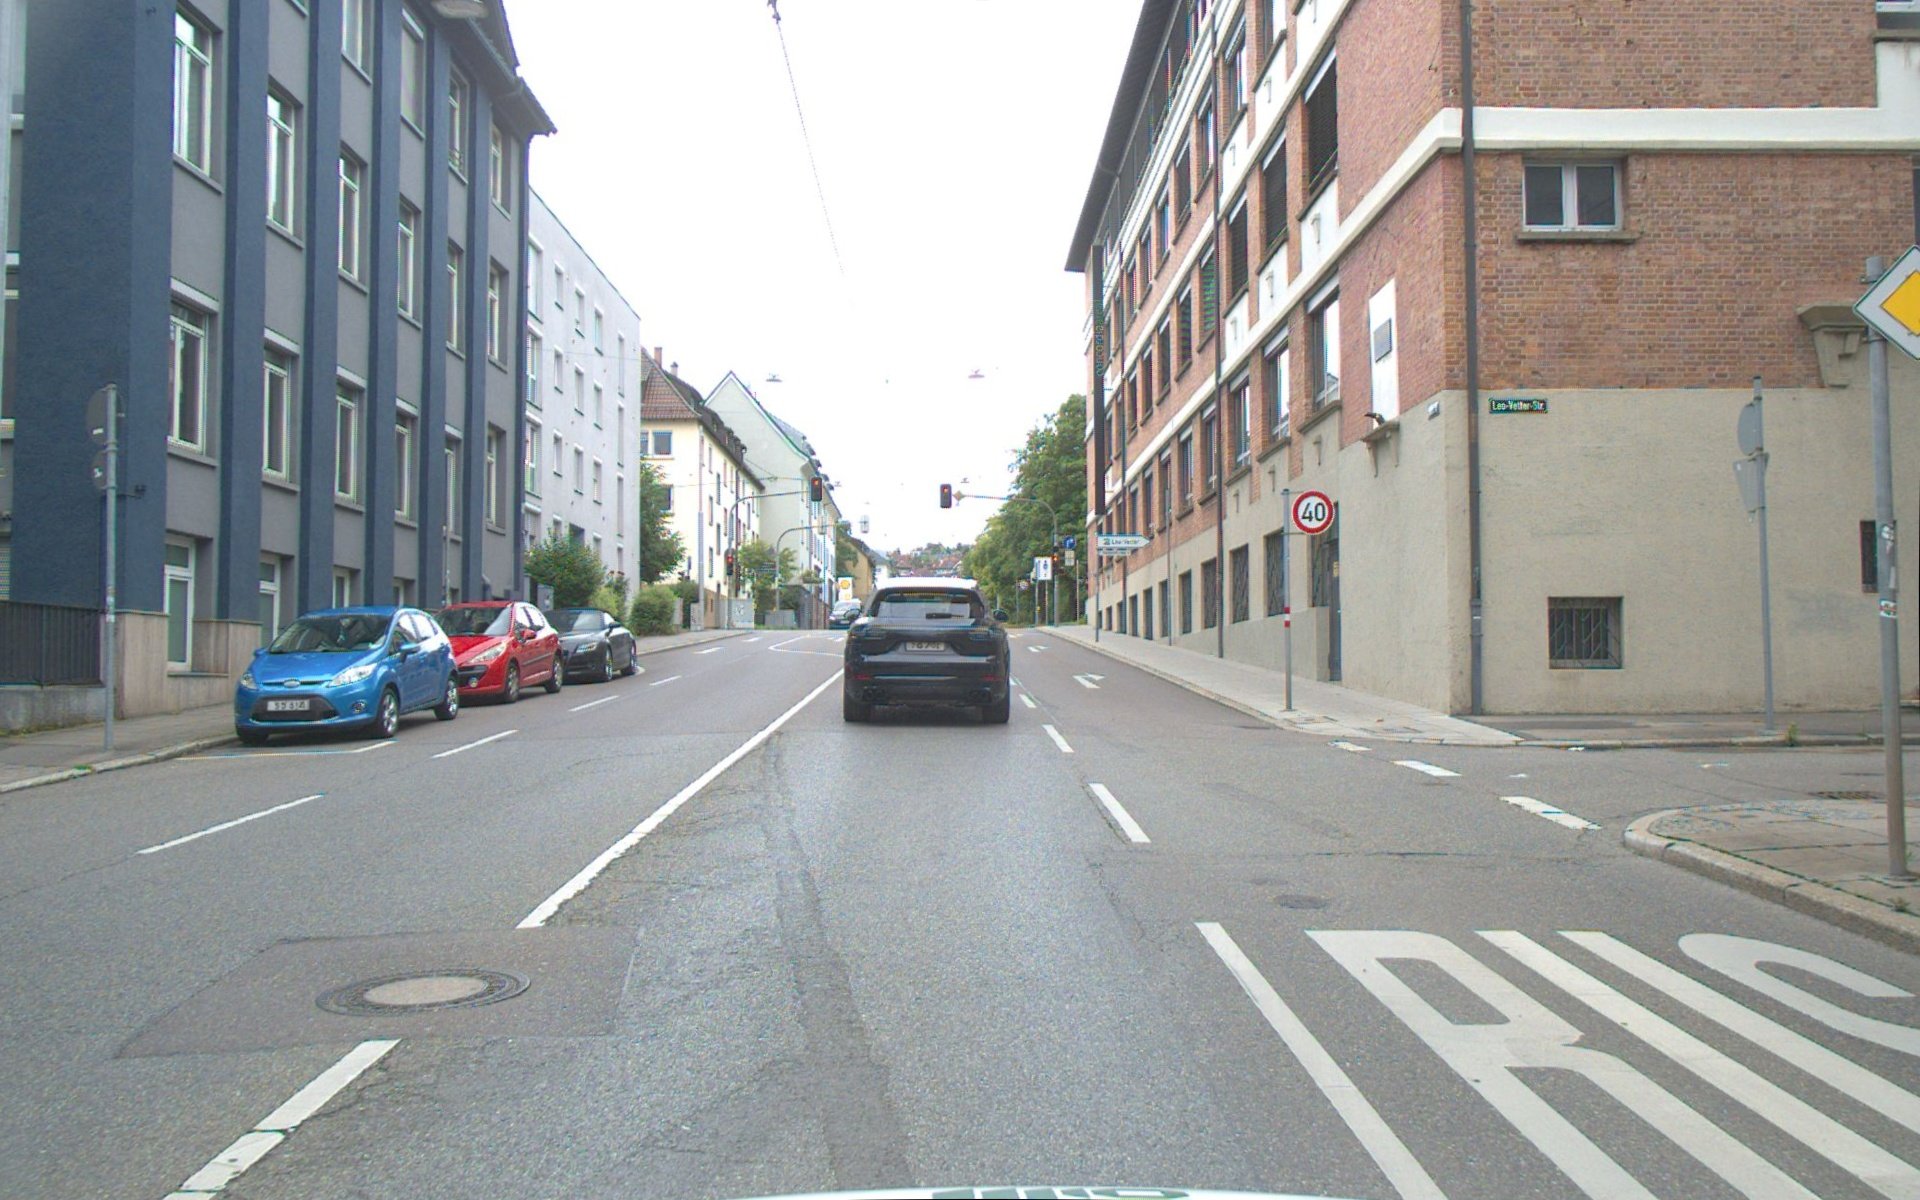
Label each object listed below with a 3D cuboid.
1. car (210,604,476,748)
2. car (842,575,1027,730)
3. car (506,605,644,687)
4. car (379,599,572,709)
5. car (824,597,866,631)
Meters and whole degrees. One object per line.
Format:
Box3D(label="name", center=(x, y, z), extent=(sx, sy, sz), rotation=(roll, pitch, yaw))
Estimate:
Box3D(label="car", center=(-7.226, 0.822, 19.790), extent=(1.679, 1.448, 3.988), rotation=(-2, 0, -1))
Box3D(label="car", center=(-0.429, 0.587, 20.467), extent=(1.984, 1.670, 4.352), rotation=(1, 0, -5))
Box3D(label="car", center=(-7.141, 0.815, 31.012), extent=(1.679, 1.364, 3.903), rotation=(-2, 0, -1))
Box3D(label="car", center=(-7.294, 0.759, 25.288), extent=(1.679, 1.482, 3.989), rotation=(-2, 0, 0))
Box3D(label="car", center=(-6.204, 0.720, 89.608), extent=(1.858, 1.721, 4.000), rotation=(-3, 0, 1))
